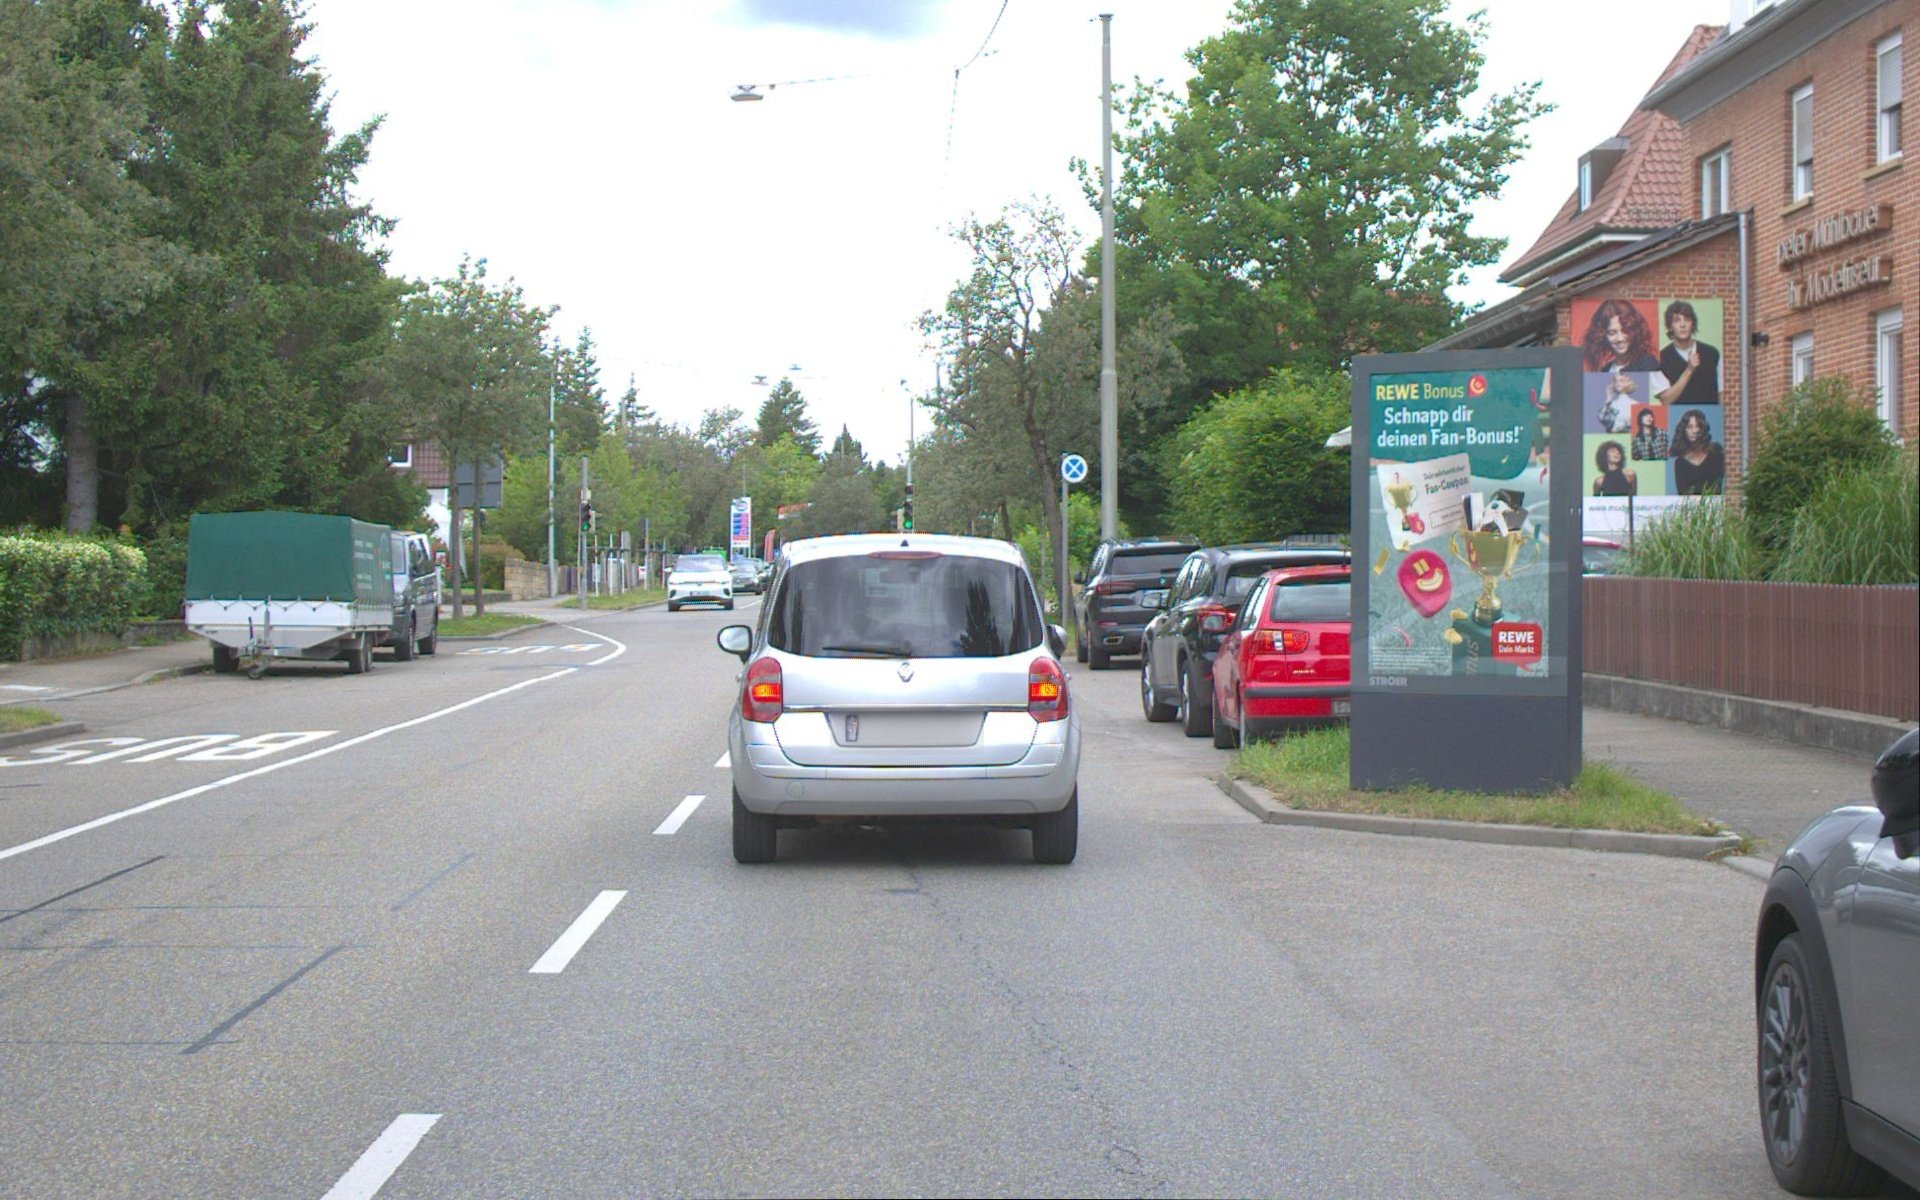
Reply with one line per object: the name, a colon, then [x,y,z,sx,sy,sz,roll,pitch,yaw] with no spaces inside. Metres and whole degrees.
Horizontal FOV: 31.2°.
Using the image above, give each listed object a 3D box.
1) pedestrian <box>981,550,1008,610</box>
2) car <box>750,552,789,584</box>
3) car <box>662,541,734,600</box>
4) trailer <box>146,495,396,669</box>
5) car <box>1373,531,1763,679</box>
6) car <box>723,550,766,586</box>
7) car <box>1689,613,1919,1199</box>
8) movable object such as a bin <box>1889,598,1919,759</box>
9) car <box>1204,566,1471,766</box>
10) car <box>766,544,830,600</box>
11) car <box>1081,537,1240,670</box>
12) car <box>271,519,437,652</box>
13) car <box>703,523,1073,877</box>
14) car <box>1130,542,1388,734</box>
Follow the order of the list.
pedestrian: [0.947,-0.548,95.041,0.705,1.641,0.773,0,0,-2]
car: [-9.050,-1.491,162.982,1.721,1.406,4.000,2,-1,-4]
car: [-7.547,-0.824,98.912,1.905,1.612,4.001,1,-1,-6]
trailer: [-9.003,-0.198,45.471,2.312,2.079,5.873,2,-1,-3]
car: [6.971,0.050,39.584,3.986,1.491,1.810,-3,1,-9]
car: [-9.212,-1.351,146.641,1.721,1.406,4.000,2,-1,-4]
car: [2.750,0.732,6.949,1.650,1.378,4.000,1,-1,0]
movable object such as a bin: [6.965,0.541,23.943,0.776,1.100,0.691,0,1,-2]
car: [2.767,0.444,25.848,1.662,1.388,3.667,0,1,1]
car: [-4.949,-0.850,105.480,1.829,1.670,3.574,0,0,-1]
car: [2.702,0.058,47.076,1.812,1.737,4.000,0,0,-2]
car: [-9.322,-0.197,53.195,1.887,1.915,4.562,2,-1,-3]
car: [-0.342,0.471,17.606,1.630,1.551,4.000,2,-1,0]
car: [2.552,0.287,30.220,1.662,1.559,4.099,1,1,-3]
